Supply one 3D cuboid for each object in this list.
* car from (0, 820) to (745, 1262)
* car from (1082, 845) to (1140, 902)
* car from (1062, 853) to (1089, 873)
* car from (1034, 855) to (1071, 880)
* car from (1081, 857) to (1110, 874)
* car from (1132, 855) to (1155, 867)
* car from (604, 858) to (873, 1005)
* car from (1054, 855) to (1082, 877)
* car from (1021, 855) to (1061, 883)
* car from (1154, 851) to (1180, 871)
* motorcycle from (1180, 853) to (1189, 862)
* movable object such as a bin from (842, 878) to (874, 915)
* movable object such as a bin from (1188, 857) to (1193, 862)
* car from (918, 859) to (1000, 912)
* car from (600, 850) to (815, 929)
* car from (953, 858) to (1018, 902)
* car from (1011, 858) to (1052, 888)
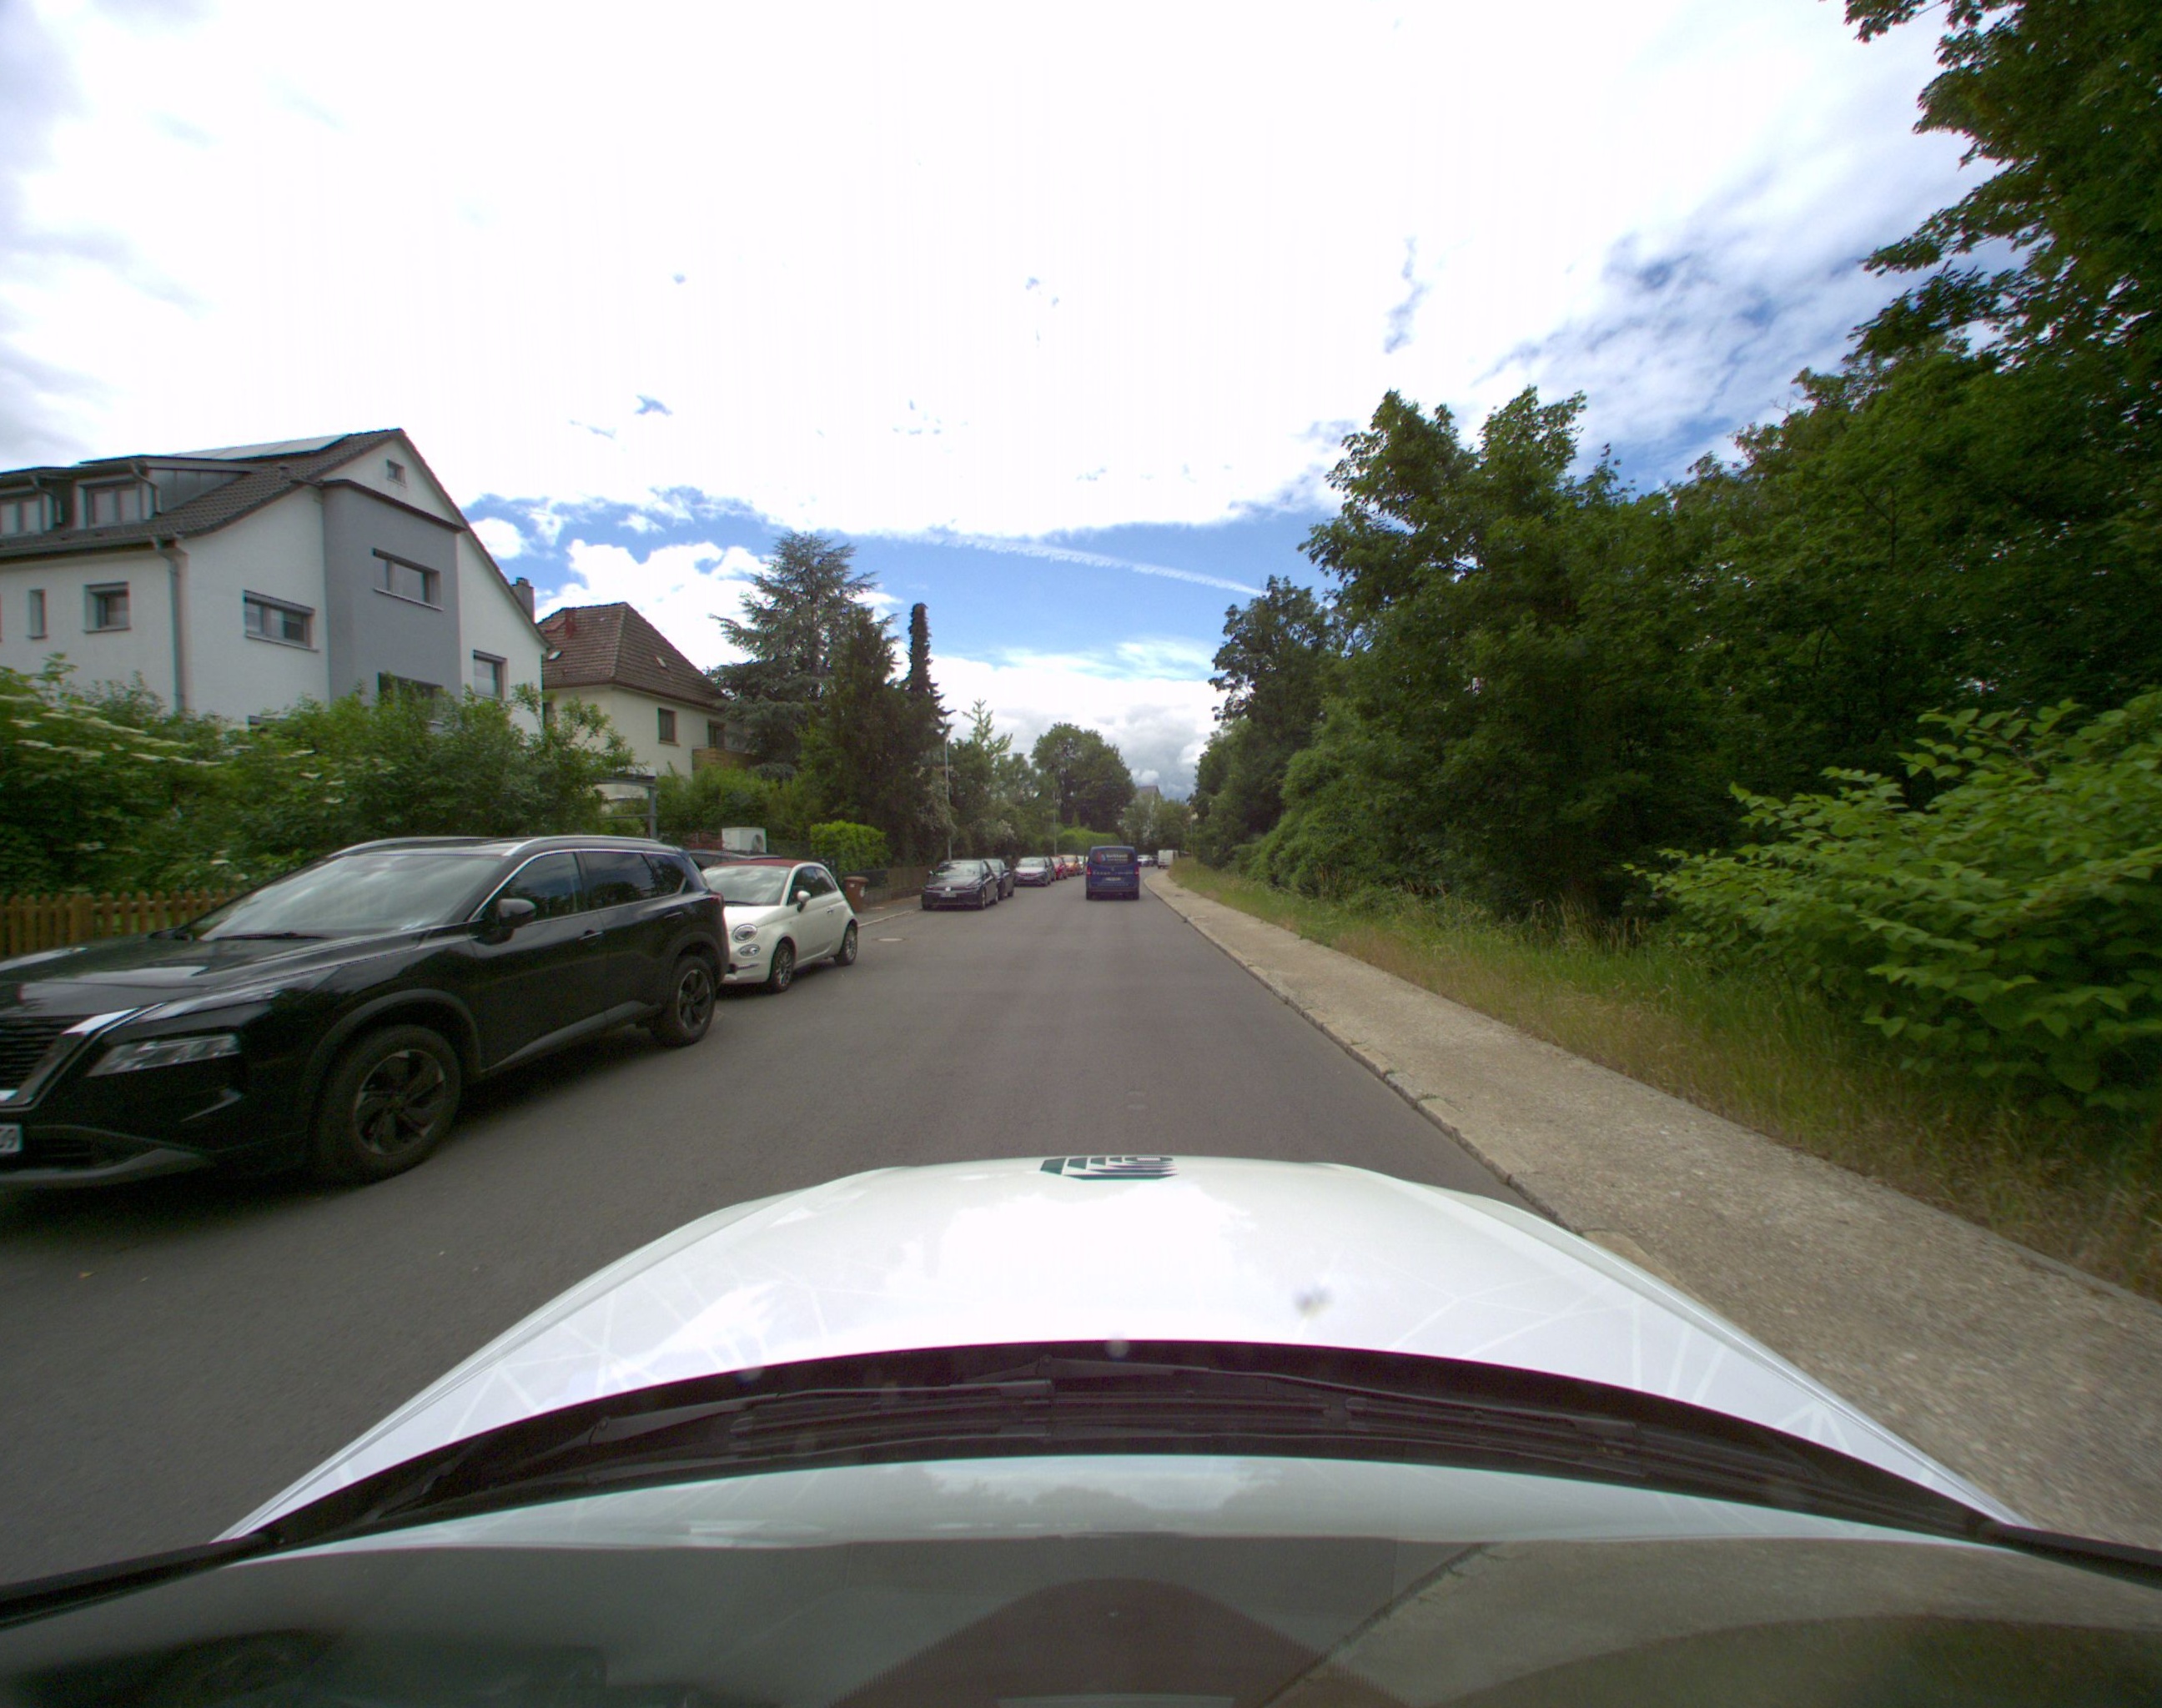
[{"bbox_3d":[-4.078,0.713,5.291,1.784,1.664,4.394,-1,0,3],"label":"car"},{"bbox_3d":[1.048,0.654,29.597,1.930,1.880,4.531,-1,0,1],"label":"car"},{"bbox_3d":[-0.393,0.708,64.209,1.579,1.514,3.599,-1,0,9],"label":"car"},{"bbox_3d":[-1.759,0.854,52.172,1.698,1.514,4.372,-1,0,7],"label":"car"},{"bbox_3d":[1.345,0.973,71.742,1.707,1.385,4.678,-1,0,12],"label":"car"},{"bbox_3d":[7.433,0.770,96.834,1.817,1.374,4.465,0,0,17],"label":"car"},{"bbox_3d":[-4.099,0.824,10.517,1.700,1.511,3.947,-1,0,2],"label":"car"},{"bbox_3d":[-0.931,0.869,59.617,1.535,1.514,3.651,-1,0,7],"label":"car"},{"bbox_3d":[-2.270,0.853,47.469,1.699,1.514,4.501,-1,0,5],"label":"car"},{"bbox_3d":[9.277,0.747,87.567,2.192,2.064,6.153,-1,0,11],"label":"car"},{"bbox_3d":[17.483,0.651,137.139,0.802,1.485,2.911,0,-1,22],"label":"motorcycle"},{"bbox_3d":[-5.820,1.098,21.298,0.627,0.922,0.655,-1,0,3],"label":"movable object such as a bin"},{"bbox_3d":[18.698,0.985,138.934,0.585,0.909,0.704,-1,-1,26],"label":"movable object such as a bin"},{"bbox_3d":[-3.569,0.879,24.423,1.700,1.416,4.151,-1,0,2],"label":"car"},{"bbox_3d":[-8.071,0.702,17.697,3.957,1.547,1.849,0,0,16],"label":"car"},{"bbox_3d":[-3.376,0.884,29.458,1.700,1.416,4.134,-1,0,2],"label":"car"},{"bbox_3d":[-2.463,0.912,41.331,1.700,1.410,4.162,-1,0,2],"label":"car"}]
